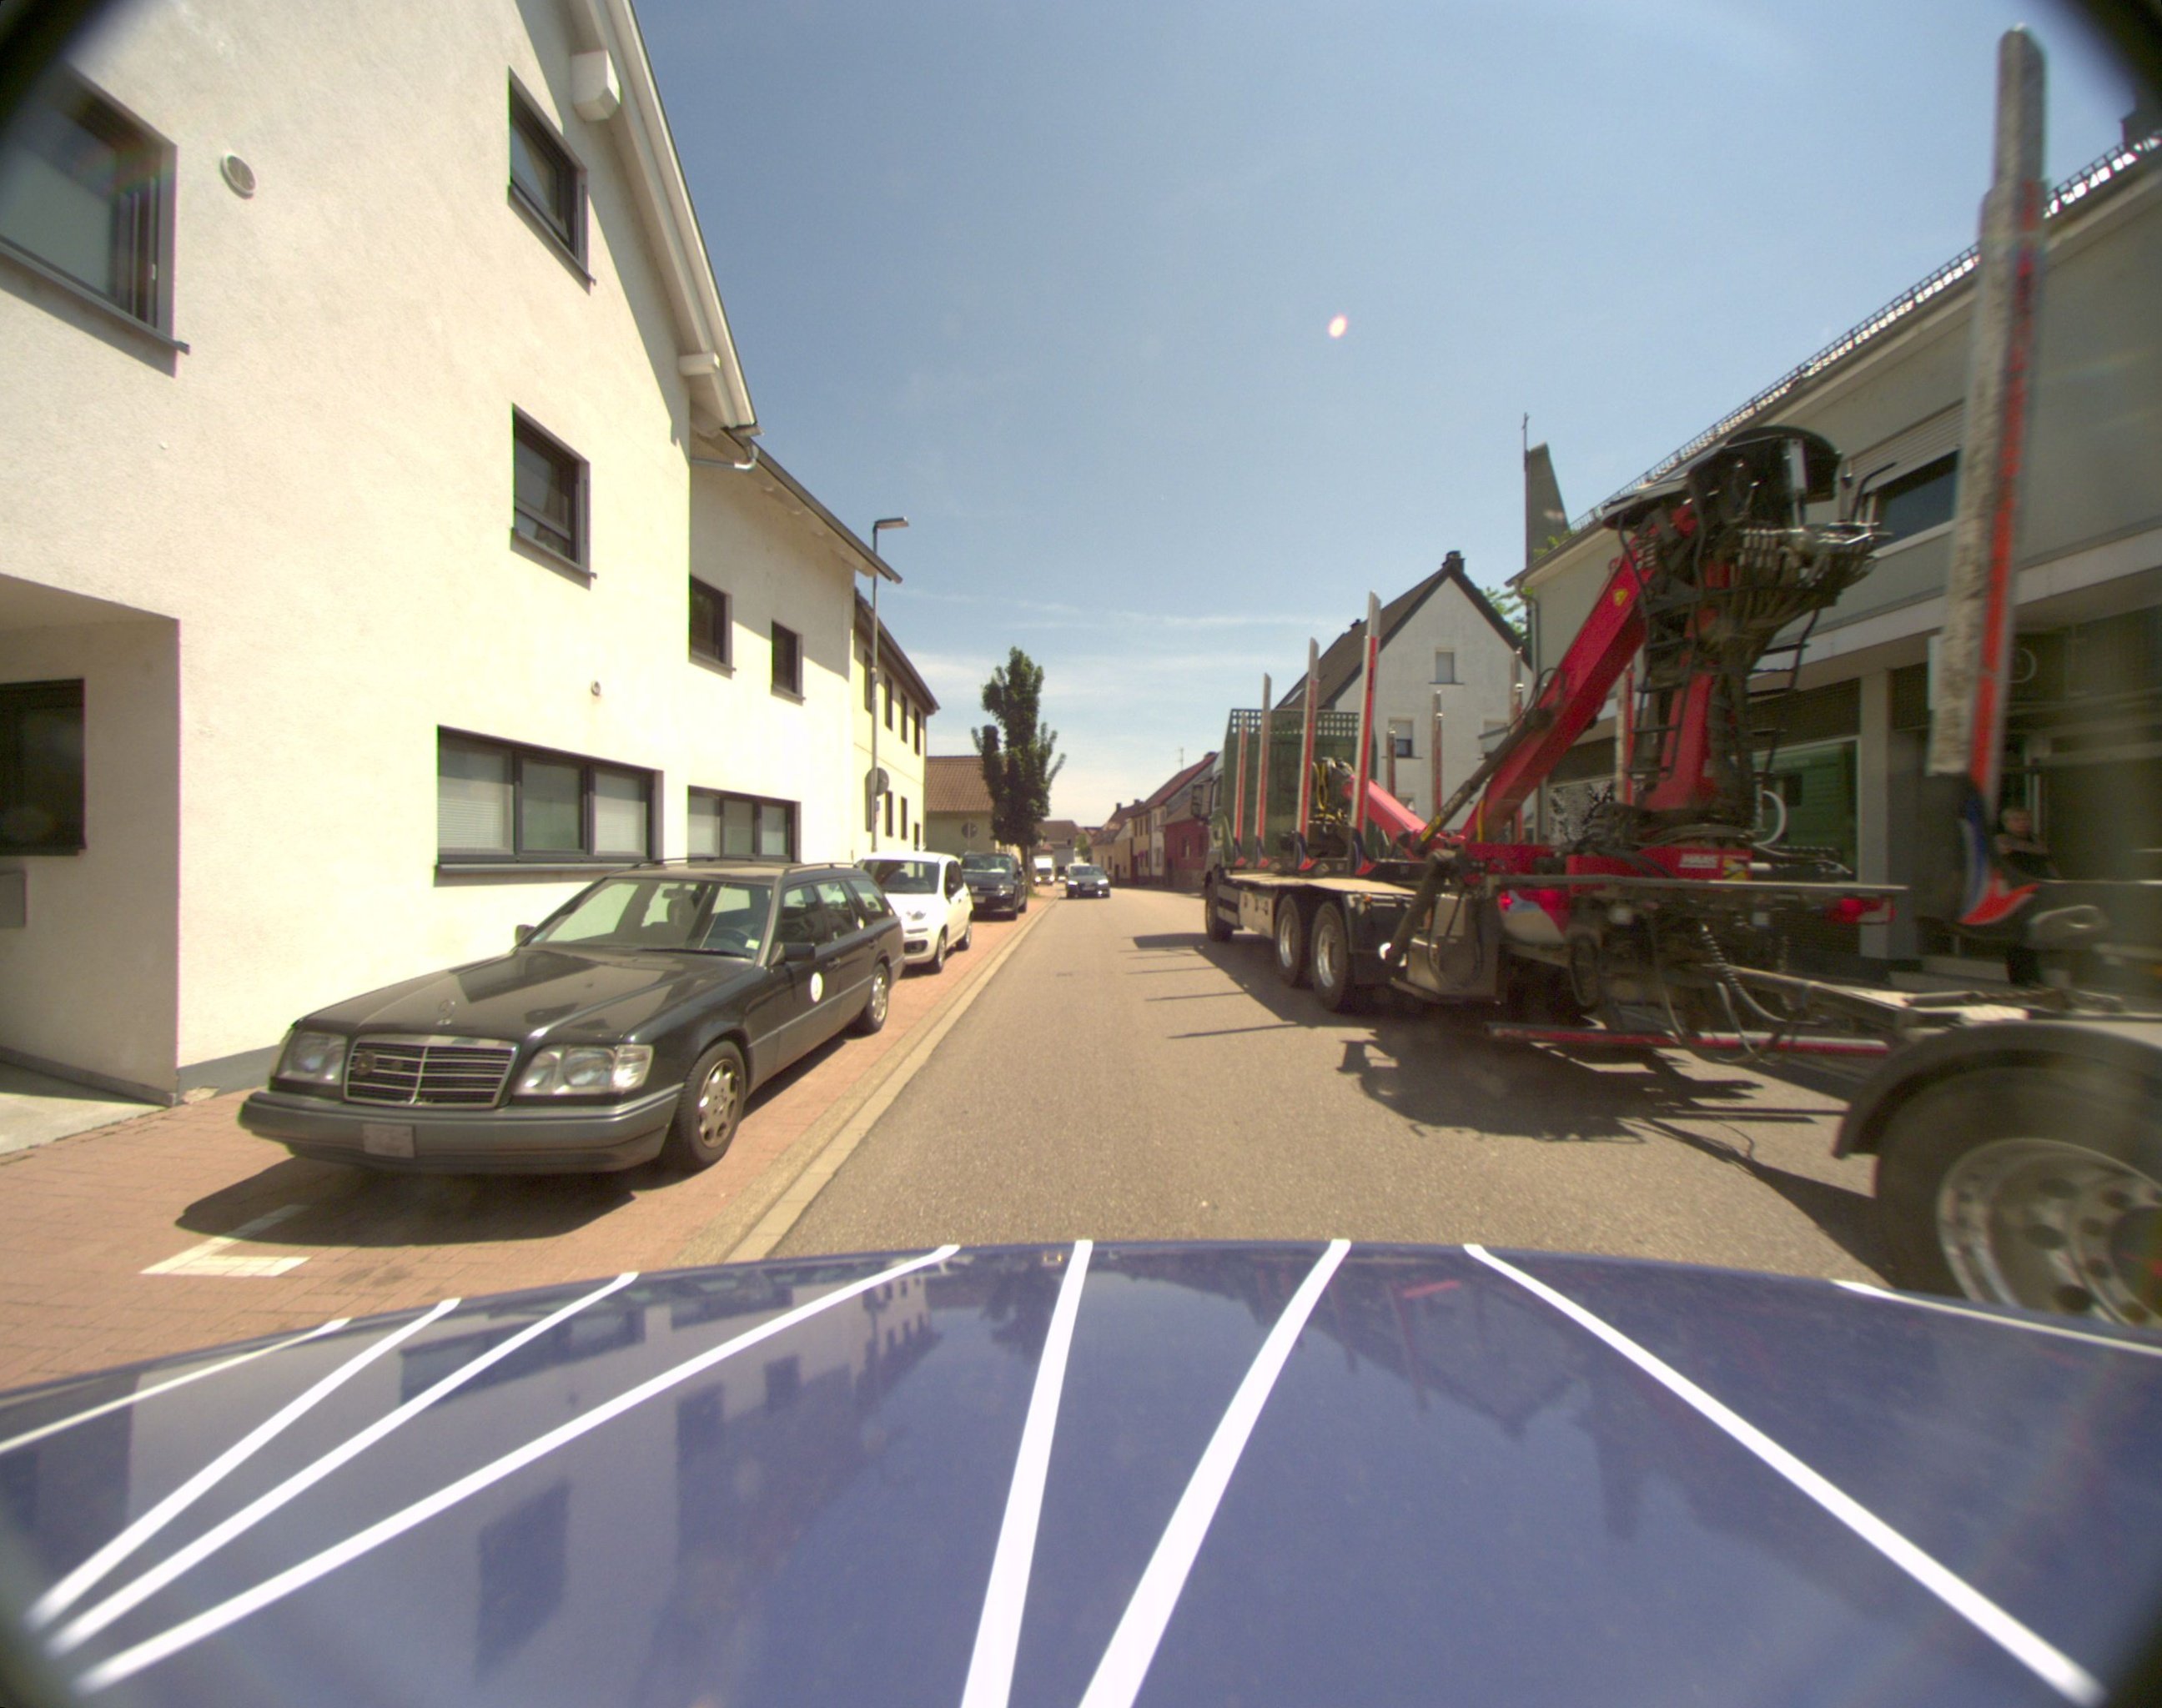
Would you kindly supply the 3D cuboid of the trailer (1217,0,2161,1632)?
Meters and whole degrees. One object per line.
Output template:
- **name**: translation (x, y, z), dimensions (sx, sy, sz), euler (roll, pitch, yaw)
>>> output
- **trailer**: translation (3.552, -0.373, 4.209), dimensions (2.637, 3.956, 15.697), euler (1, 0, 0)

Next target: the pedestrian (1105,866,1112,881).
- **pedestrian**: translation (2.930, 2.089, 81.820), dimensions (0.663, 1.555, 0.754), euler (-1, 0, -6)

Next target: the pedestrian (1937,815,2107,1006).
- **pedestrian**: translation (8.739, 0.497, 7.090), dimensions (0.626, 1.675, 0.771), euler (-1, 1, 0)

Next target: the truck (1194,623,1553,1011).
- **truck**: translation (3.535, -0.381, 11.296), dimensions (2.625, 3.962, 6.852), euler (1, 0, 0)

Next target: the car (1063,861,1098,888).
- **car**: translation (-0.078, 1.497, 57.270), dimensions (2.080, 1.949, 5.516), euler (-1, 0, -5)

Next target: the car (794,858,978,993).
- **car**: translation (-2.528, 0.847, 10.684), dimensions (1.611, 1.513, 3.545), euler (2, 0, 0)

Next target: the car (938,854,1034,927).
- **car**: translation (-2.282, 0.854, 19.386), dimensions (1.807, 1.604, 4.549), euler (2, -1, 0)

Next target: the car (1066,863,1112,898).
- **car**: translation (0.325, 1.071, 32.150), dimensions (1.786, 1.364, 3.607), euler (-1, 0, 0)

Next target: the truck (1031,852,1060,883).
- **truck**: translation (-4.274, 1.530, 89.883), dimensions (2.869, 3.491, 8.315), euler (1, 0, -6)

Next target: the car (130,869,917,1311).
- **car**: translation (-2.553, 0.906, 5.174), dimensions (1.704, 1.438, 4.836), euler (2, 0, 1)

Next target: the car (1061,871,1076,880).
- **car**: translation (-1.889, 3.289, 117.230), dimensions (1.697, 1.401, 4.204), euler (0, -1, 9)
